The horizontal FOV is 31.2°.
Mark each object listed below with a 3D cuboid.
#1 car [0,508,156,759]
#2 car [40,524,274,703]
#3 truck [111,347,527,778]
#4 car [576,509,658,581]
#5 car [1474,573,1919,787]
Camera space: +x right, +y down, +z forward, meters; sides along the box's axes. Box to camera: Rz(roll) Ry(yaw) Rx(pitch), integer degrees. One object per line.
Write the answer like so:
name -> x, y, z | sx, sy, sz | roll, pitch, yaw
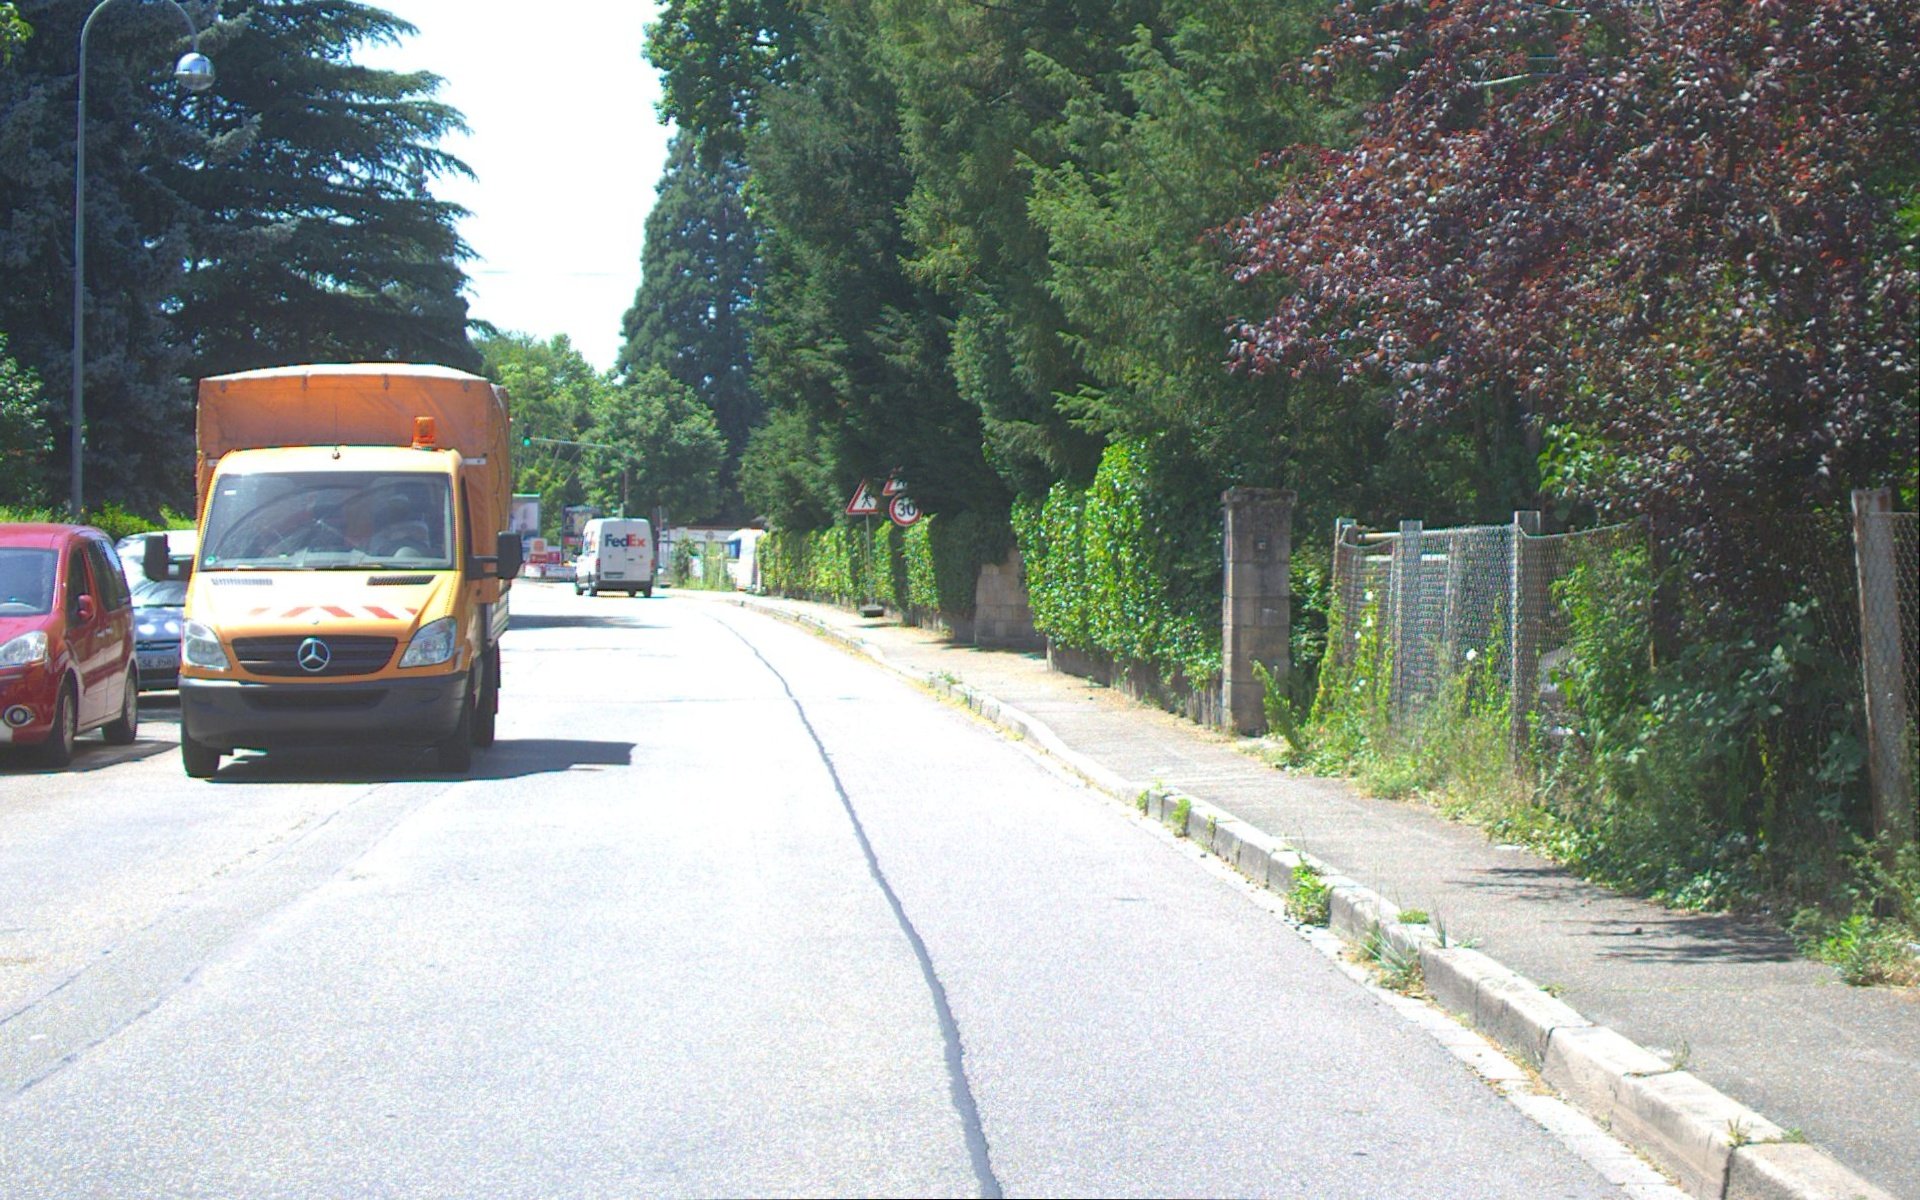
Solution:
car -> -7.257, 0.200, 25.687 | 1.757, 1.721, 4.459 | 0, 1, -4
car -> -8.251, 0.101, 35.652 | 1.647, 1.746, 4.355 | 0, 1, -3
truck -> -4.578, -0.276, 25.505 | 2.373, 2.820, 5.659 | 0, 1, -4
car -> -11.382, -1.818, 113.782 | 2.143, 2.307, 4.854 | 0, 1, -12
car -> 5.774, 0.563, 24.583 | 3.861, 1.376, 1.766 | 2, 1, -1
